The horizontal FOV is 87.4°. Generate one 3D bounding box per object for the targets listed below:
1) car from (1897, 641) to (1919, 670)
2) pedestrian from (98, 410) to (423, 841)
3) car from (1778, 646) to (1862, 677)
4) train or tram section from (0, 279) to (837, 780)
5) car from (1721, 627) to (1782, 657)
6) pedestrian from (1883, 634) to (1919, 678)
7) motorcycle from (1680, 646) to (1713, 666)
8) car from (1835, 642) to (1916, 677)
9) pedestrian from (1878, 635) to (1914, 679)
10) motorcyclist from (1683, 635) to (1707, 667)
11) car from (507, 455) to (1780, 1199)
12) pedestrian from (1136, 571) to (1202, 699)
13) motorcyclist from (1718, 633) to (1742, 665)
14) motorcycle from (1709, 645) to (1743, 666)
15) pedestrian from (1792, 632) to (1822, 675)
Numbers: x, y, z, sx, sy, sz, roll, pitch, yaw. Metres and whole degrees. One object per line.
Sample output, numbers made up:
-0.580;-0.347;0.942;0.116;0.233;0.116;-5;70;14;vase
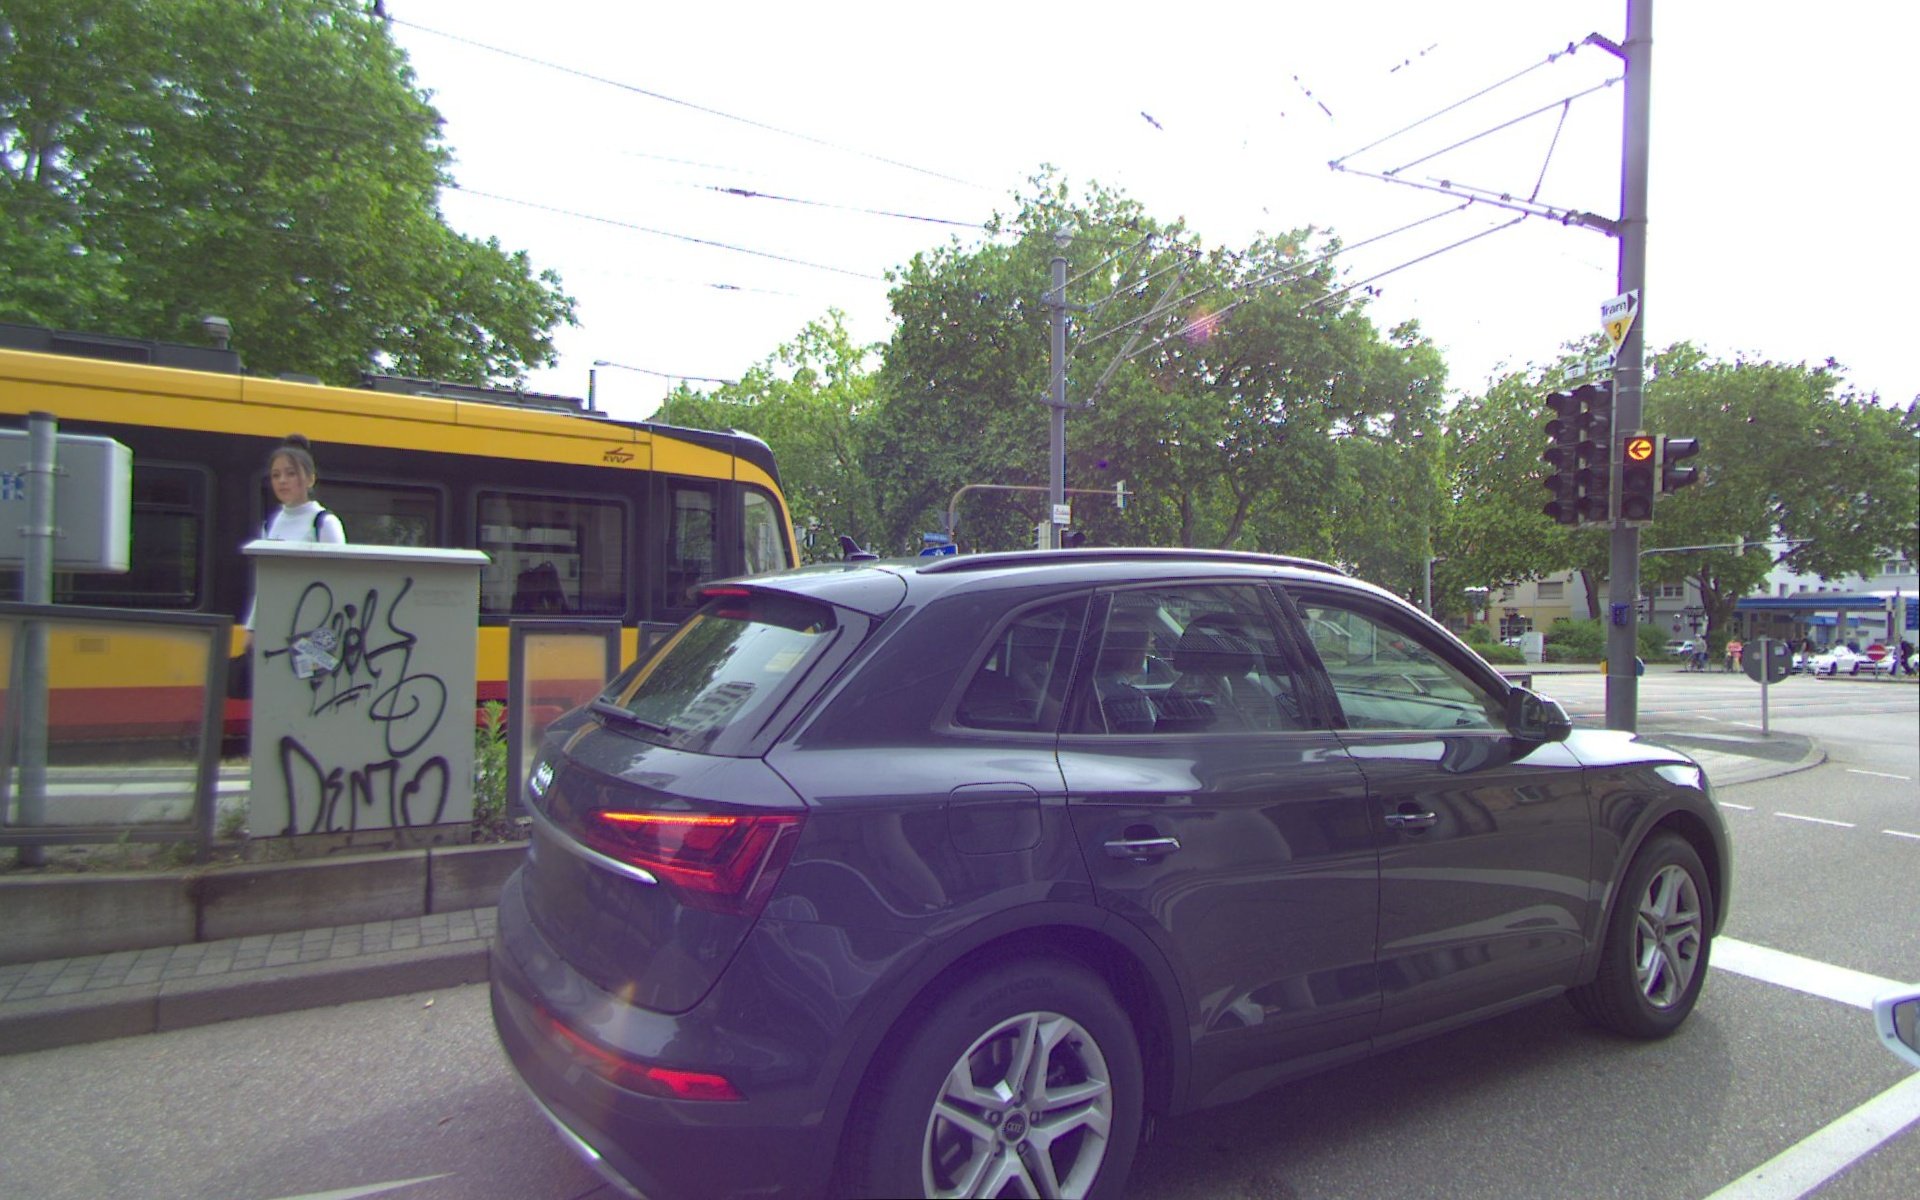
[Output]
52.782;3.033;54.597;3.593;1.497;1.649;2;0;-29;car
-3.129;0.103;4.549;0.709;1.692;0.977;2;0;31;pedestrian
41.426;2.950;48.356;4.025;1.338;1.739;2;0;-29;car
-8.690;-0.566;8.738;15.026;3.802;3.314;2;0;-31;train or tram section
54.597;2.886;69.274;3.953;2.040;1.984;2;-1;-30;car
37.737;2.240;40.260;0.864;1.735;0.868;2;-1;-28;pedestrian
35.947;2.736;49.023;1.928;0.941;0.604;2;-1;-30;motorcycle
46.979;3.022;51.514;3.953;1.615;1.984;2;0;-30;car
37.151;2.258;39.874;0.682;1.735;0.864;1;-1;-26;pedestrian
35.804;2.483;48.939;0.863;1.540;0.617;2;-1;-30;motorcyclist
0.827;0.643;3.451;4.177;1.658;1.725;2;0;-30;car
3.305;0.542;15.910;0.658;1.976;0.732;2;0;-30;pedestrian
37.235;2.367;48.565;0.863;1.540;0.617;2;-1;-30;motorcyclist
36.930;2.668;48.426;1.928;0.941;0.604;2;-1;-30;motorcycle
34.760;2.203;41.212;0.732;1.713;0.681;2;0;-25;pedestrian
